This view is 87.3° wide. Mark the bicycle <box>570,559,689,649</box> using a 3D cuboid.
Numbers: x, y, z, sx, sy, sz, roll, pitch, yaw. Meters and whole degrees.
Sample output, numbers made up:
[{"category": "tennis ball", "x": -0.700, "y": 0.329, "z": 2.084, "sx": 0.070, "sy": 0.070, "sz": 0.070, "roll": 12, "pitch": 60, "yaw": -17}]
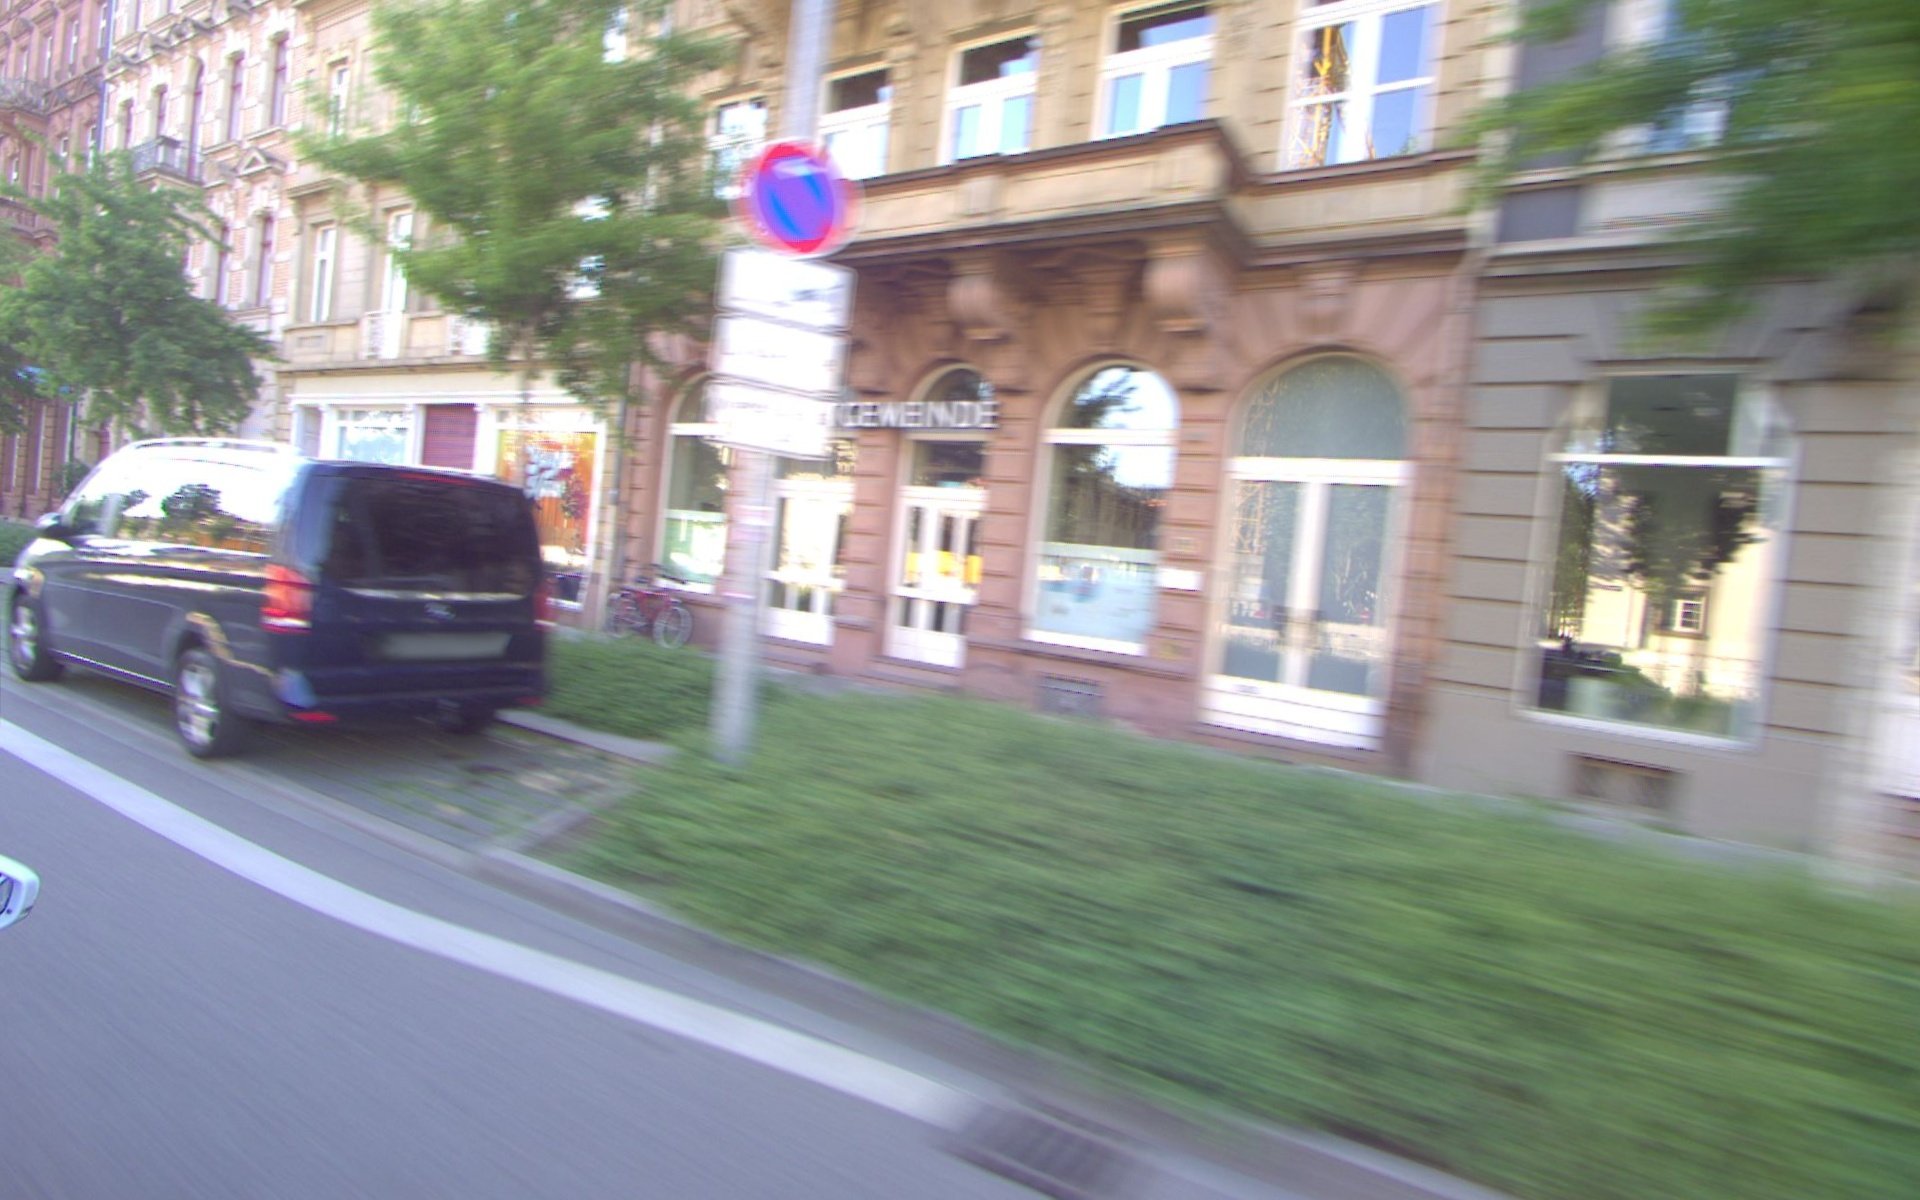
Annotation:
[{"category": "bicycle", "x": -4.812, "y": 0.037, "z": 14.576, "sx": 2.038, "sy": 1.078, "sz": 0.324, "roll": 7, "pitch": 1, "yaw": 32}]

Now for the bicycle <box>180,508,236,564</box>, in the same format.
[{"category": "bicycle", "x": -17.004, "y": -1.455, "z": 22.746, "sx": 1.649, "sy": 1.093, "sz": 0.385, "roll": 7, "pitch": 1, "yaw": 33}]

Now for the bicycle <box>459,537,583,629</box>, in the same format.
[{"category": "bicycle", "x": -7.068, "y": -0.285, "z": 16.168, "sx": 2.038, "sy": 1.235, "sz": 0.705, "roll": 7, "pitch": 1, "yaw": 32}]

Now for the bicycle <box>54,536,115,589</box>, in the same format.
[{"category": "bicycle", "x": -12.647, "y": -0.548, "z": 14.531, "sx": 0.985, "sy": 0.655, "sz": 0.355, "roll": 7, "pitch": 1, "yaw": 32}]

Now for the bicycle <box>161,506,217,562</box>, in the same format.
[{"category": "bicycle", "x": -17.163, "y": -1.487, "z": 22.389, "sx": 1.649, "sy": 1.093, "sz": 0.385, "roll": 7, "pitch": 1, "yaw": 33}]

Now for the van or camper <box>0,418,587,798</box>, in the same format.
[{"category": "van or camper", "x": -5.428, "y": -0.187, "z": 7.627, "sx": 5.398, "sy": 1.998, "sz": 1.960, "roll": 7, "pitch": 3, "yaw": 33}]

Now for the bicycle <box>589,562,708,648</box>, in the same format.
[{"category": "bicycle", "x": -4.631, "y": 0.061, "z": 14.872, "sx": 2.038, "sy": 1.046, "sz": 0.343, "roll": 7, "pitch": 1, "yaw": 32}]
